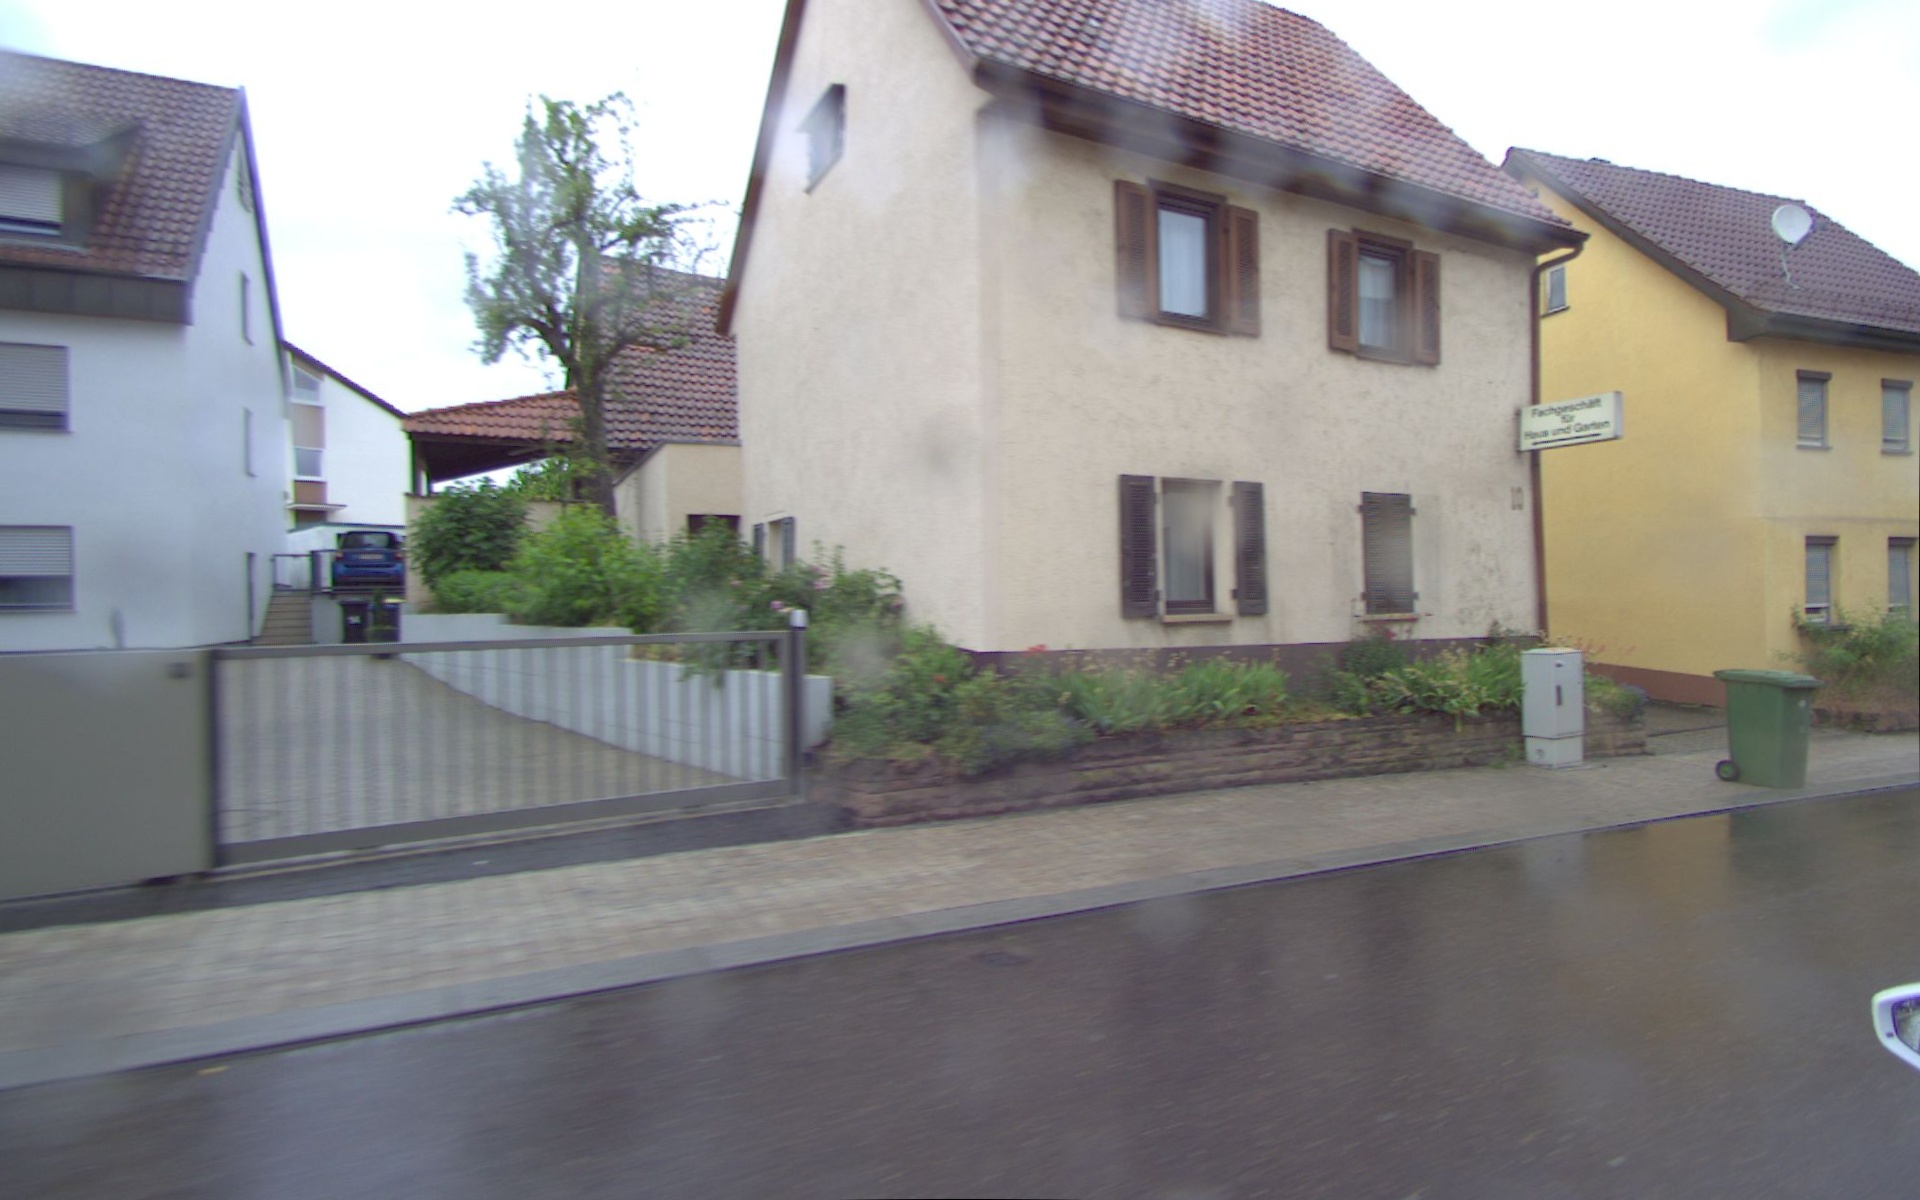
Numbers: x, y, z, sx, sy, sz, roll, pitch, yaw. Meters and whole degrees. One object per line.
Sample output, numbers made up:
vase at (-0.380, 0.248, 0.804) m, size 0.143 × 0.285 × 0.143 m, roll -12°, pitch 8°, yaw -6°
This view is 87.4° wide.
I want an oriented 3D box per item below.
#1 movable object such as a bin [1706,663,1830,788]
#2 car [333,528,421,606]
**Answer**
movable object such as a bin at (7.727, 1.174, 9.612) m, size 0.754 × 1.070 × 0.657 m, roll 1°, pitch 1°, yaw -28°
car at (-14.513, -0.751, 25.153) m, size 1.569 × 1.740 × 3.667 m, roll 1°, pitch -2°, yaw -25°
